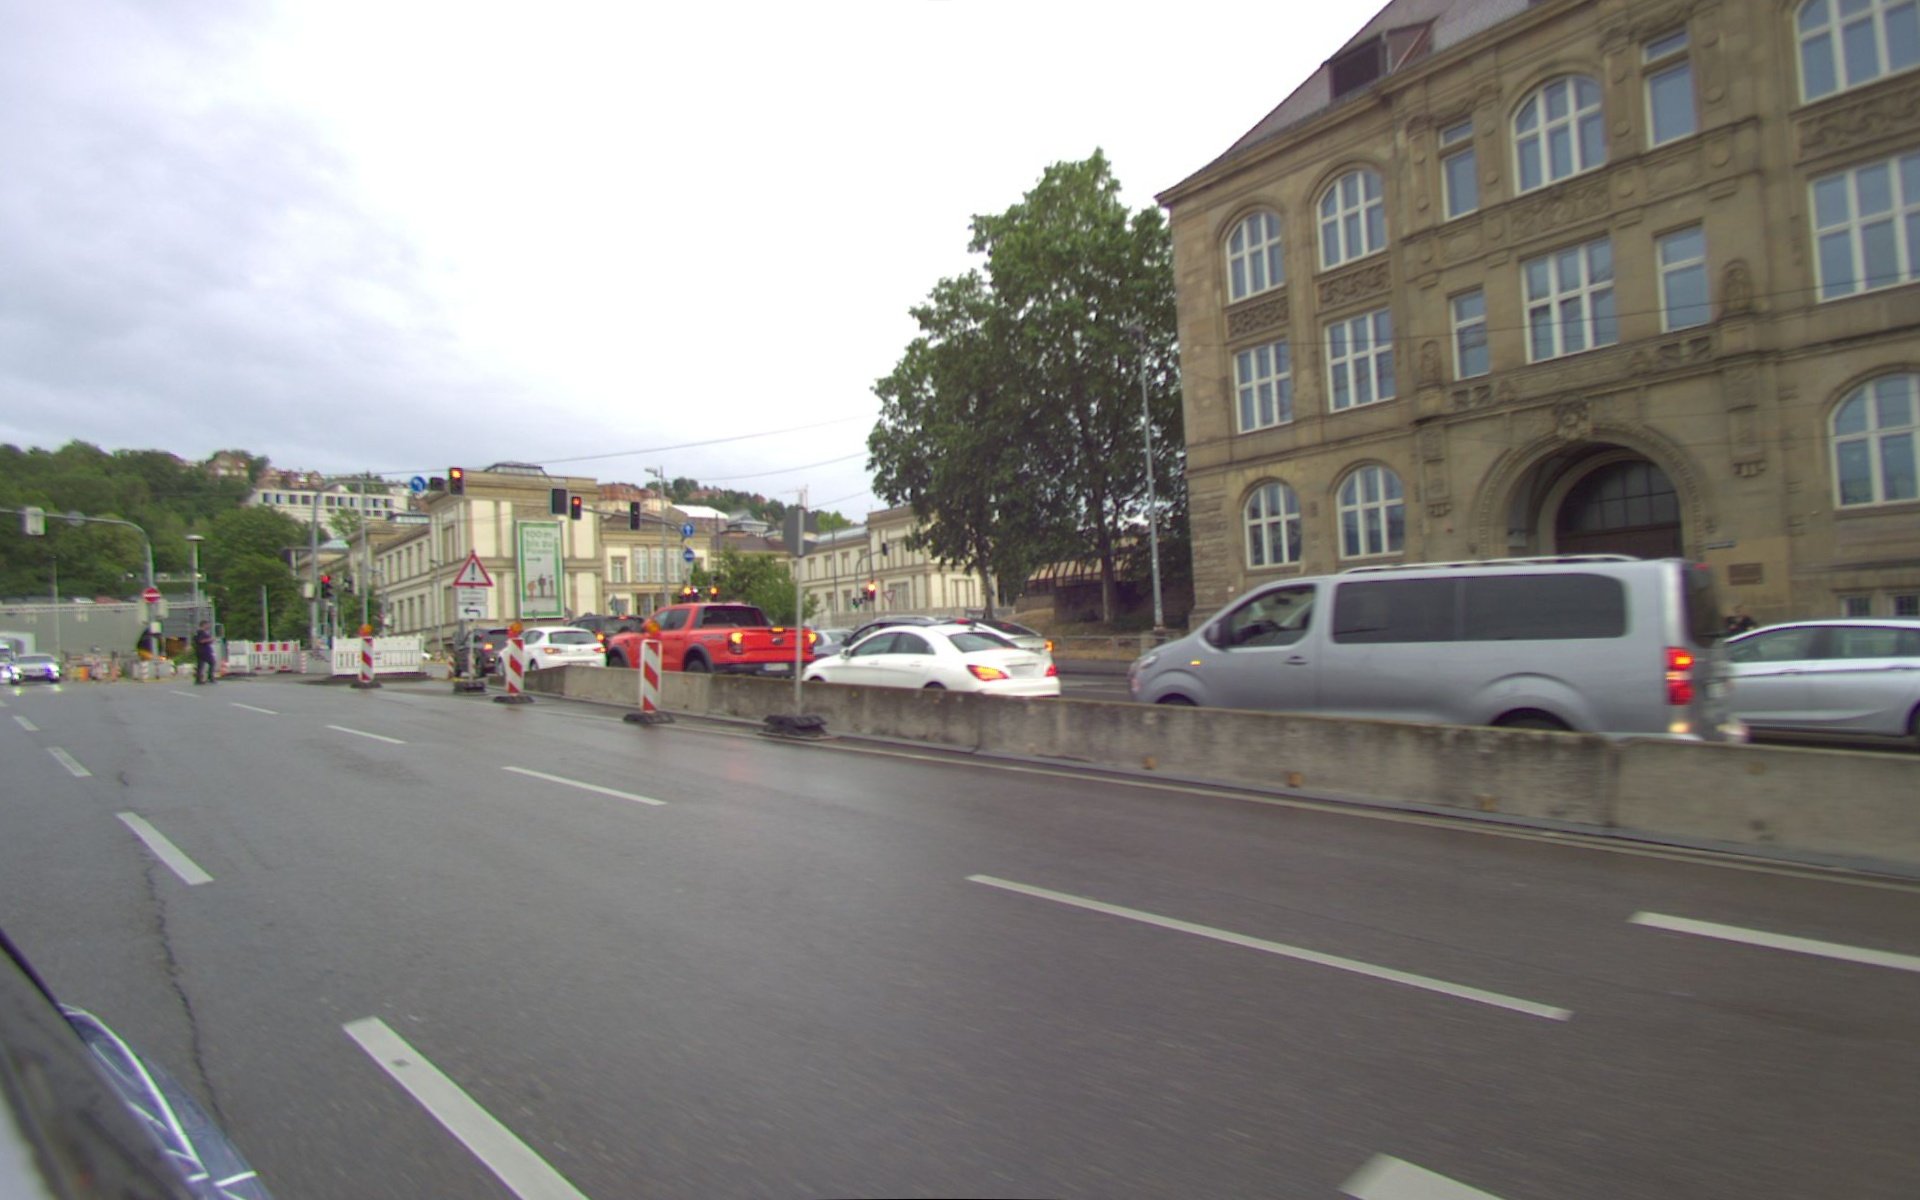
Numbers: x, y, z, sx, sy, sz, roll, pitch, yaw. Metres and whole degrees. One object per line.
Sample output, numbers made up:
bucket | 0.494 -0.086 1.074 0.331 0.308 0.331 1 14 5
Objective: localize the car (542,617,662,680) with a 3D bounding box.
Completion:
car | -11.320 1.501 31.831 1.969 1.808 4.620 2 -3 -42

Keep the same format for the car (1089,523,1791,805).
car | 4.008 0.529 9.489 1.969 1.880 5.601 2 -3 -42

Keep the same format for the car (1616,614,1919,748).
car | 10.263 0.886 11.679 4.213 1.393 1.971 -2 -3 44

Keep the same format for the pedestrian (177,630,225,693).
pedestrian | -20.953 1.686 27.953 0.758 1.723 0.777 -1 -2 25

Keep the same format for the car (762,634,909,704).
car | -3.447 1.823 27.633 3.998 1.763 1.823 -2 -3 41

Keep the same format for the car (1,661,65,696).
car | -46.223 3.862 50.462 3.999 1.582 1.972 -2 -3 42

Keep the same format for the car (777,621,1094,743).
car | -0.536 1.106 14.941 1.970 1.513 4.826 2 -3 -43

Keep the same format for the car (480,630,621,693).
car | -10.712 1.548 26.284 1.969 1.482 4.567 2 -3 -42

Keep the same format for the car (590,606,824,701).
car | -5.002 0.985 19.447 1.970 1.579 5.386 2 -3 -44

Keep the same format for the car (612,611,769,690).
car | -6.914 1.254 25.665 1.969 1.808 4.620 2 -3 -42

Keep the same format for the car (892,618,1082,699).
car | 0.558 1.288 22.948 3.998 1.664 1.973 -2 -3 41

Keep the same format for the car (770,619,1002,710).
car | -1.575 1.254 20.590 4.609 1.660 1.974 -2 -3 38

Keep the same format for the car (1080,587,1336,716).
car | 4.358 0.893 18.093 3.998 2.029 1.973 -2 -3 41

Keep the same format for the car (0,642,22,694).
car | -78.784 5.475 82.594 2.794 4.044 8.738 2 -3 -40

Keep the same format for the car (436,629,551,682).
car | -14.138 1.633 30.583 1.969 1.482 4.351 2 -3 -42
